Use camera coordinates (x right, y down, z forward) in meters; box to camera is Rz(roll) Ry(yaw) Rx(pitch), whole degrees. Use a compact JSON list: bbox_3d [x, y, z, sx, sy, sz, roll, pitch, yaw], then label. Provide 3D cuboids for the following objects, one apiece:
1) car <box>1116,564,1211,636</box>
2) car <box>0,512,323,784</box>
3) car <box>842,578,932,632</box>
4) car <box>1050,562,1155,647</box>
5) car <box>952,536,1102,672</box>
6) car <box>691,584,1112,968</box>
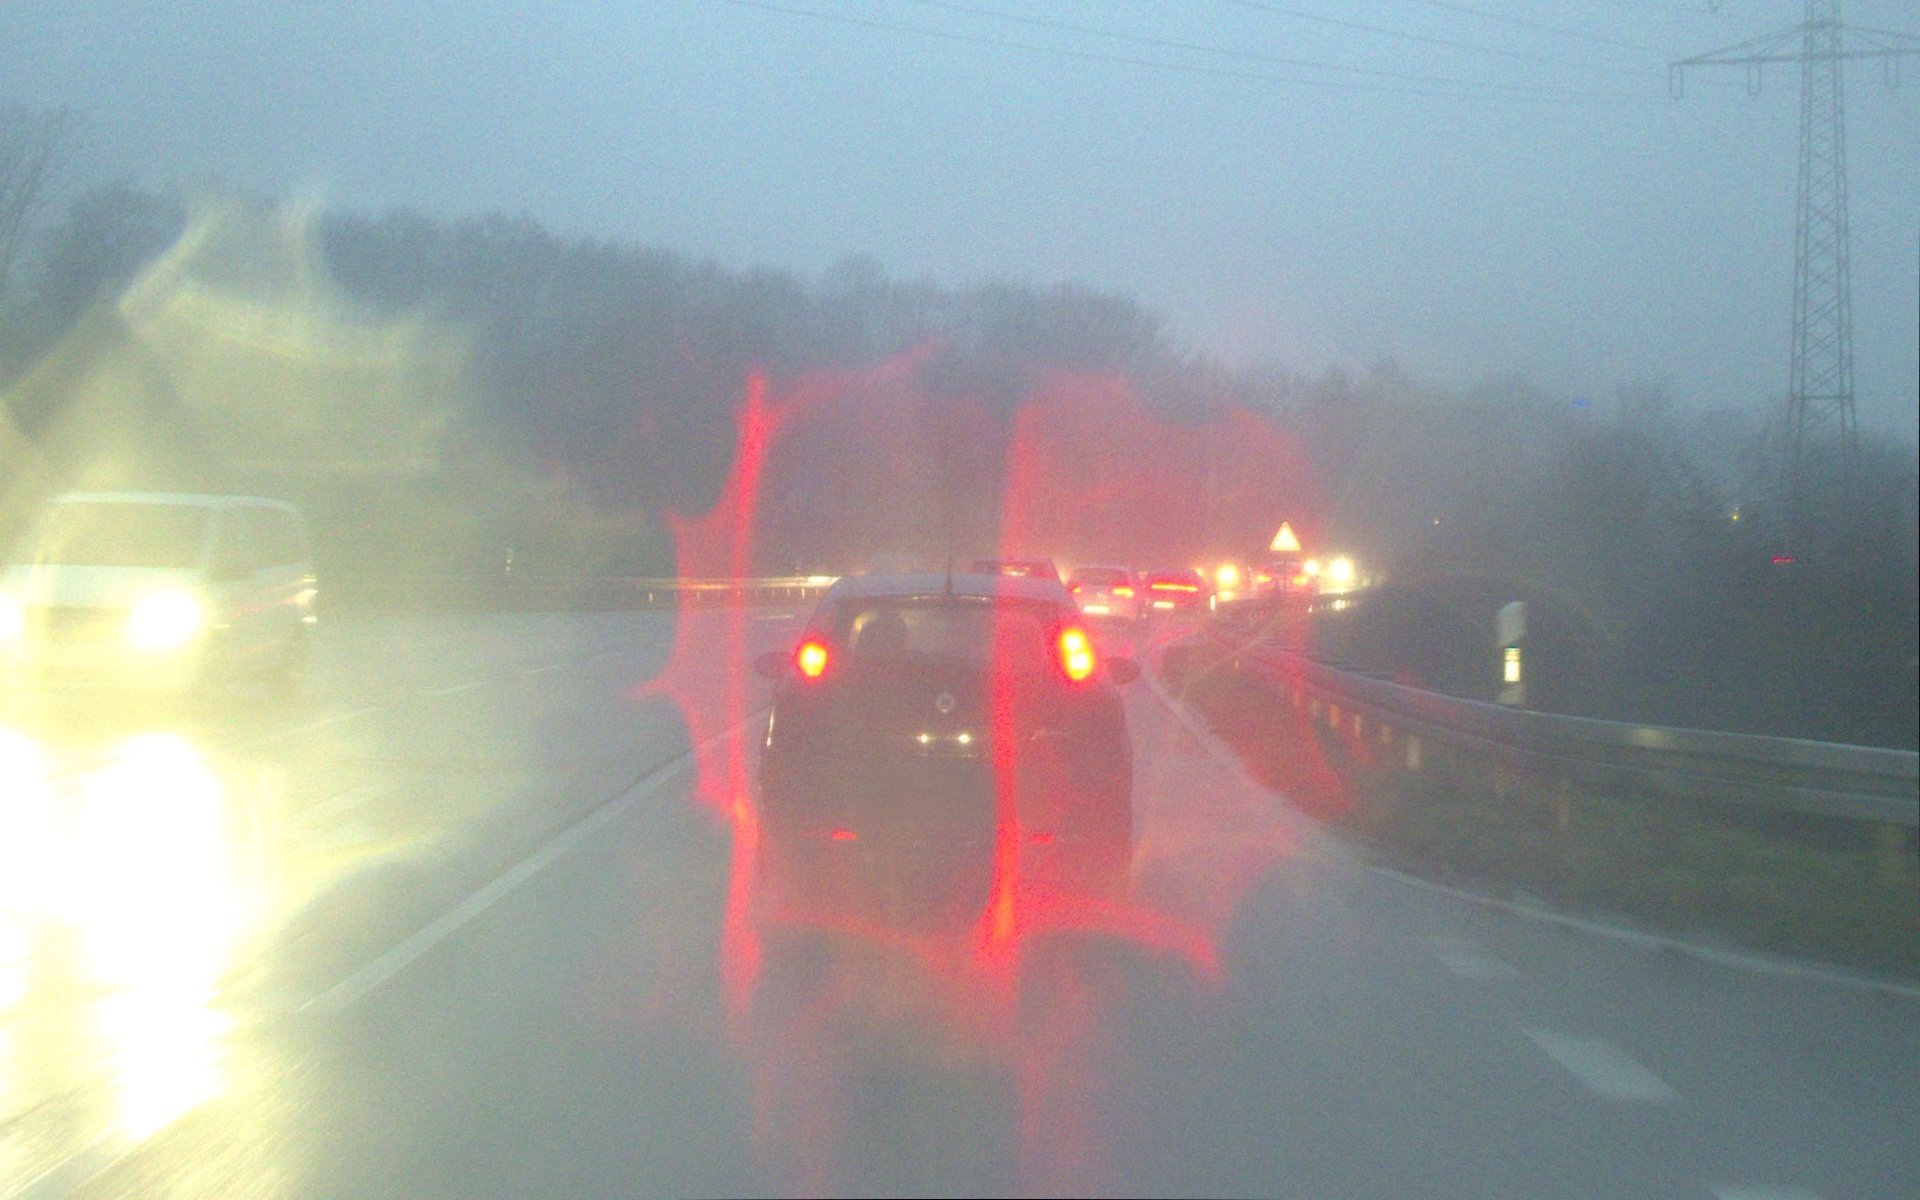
[{"bbox_3d":[5.486,-0.022,92.150,1.947,1.739,3.998,4,1,11],"label":"car"},{"bbox_3d":[-7.007,0.345,30.027,1.871,2.130,5.180,-2,1,0],"label":"car"},{"bbox_3d":[-1.921,0.120,91.448,1.596,1.240,3.999,4,2,10],"label":"car"},{"bbox_3d":[3.121,0.076,74.676,1.946,1.739,3.999,2,1,6],"label":"car"},{"bbox_3d":[1.100,0.043,54.337,1.946,2.007,3.999,2,1,6],"label":"car"},{"bbox_3d":[-0.254,0.734,16.546,1.730,1.527,4.042,-2,1,0],"label":"car"}]
